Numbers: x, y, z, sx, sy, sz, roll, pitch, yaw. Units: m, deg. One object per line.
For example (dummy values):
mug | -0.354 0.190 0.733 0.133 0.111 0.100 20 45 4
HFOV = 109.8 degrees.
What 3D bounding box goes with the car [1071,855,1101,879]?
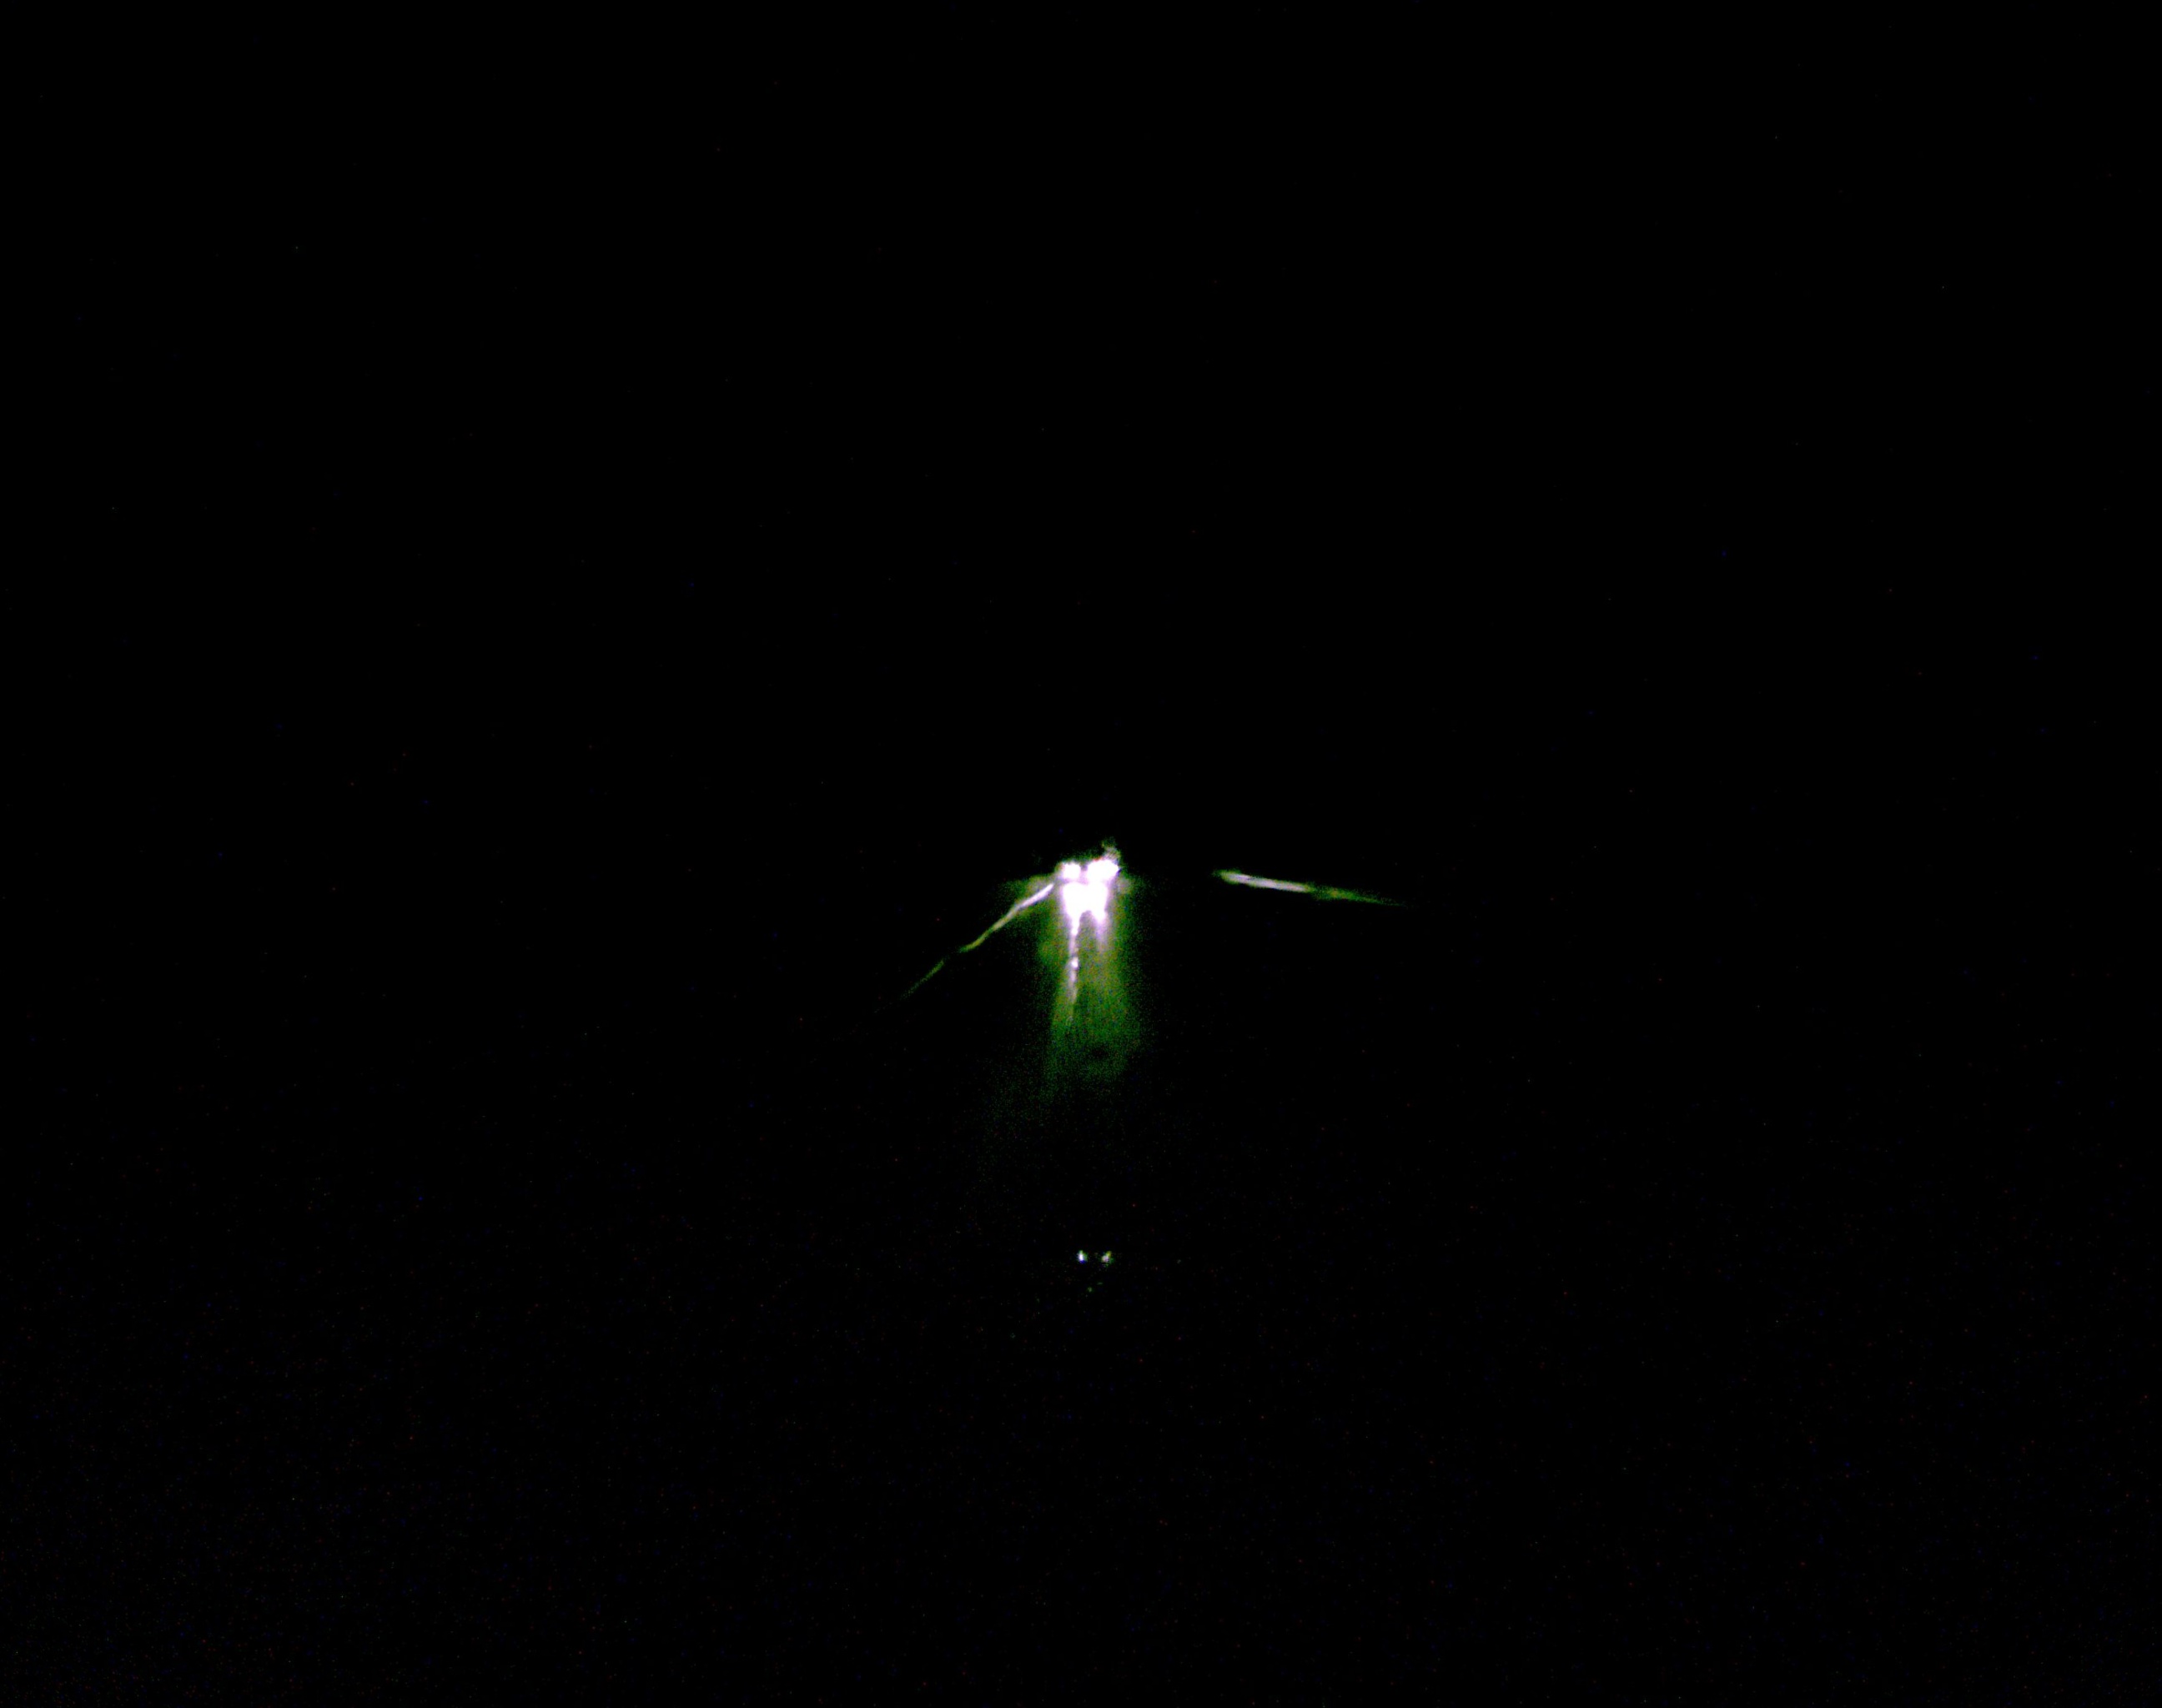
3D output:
car | 0.362 0.904 50.664 1.901 1.551 4.002 0 -2 1
